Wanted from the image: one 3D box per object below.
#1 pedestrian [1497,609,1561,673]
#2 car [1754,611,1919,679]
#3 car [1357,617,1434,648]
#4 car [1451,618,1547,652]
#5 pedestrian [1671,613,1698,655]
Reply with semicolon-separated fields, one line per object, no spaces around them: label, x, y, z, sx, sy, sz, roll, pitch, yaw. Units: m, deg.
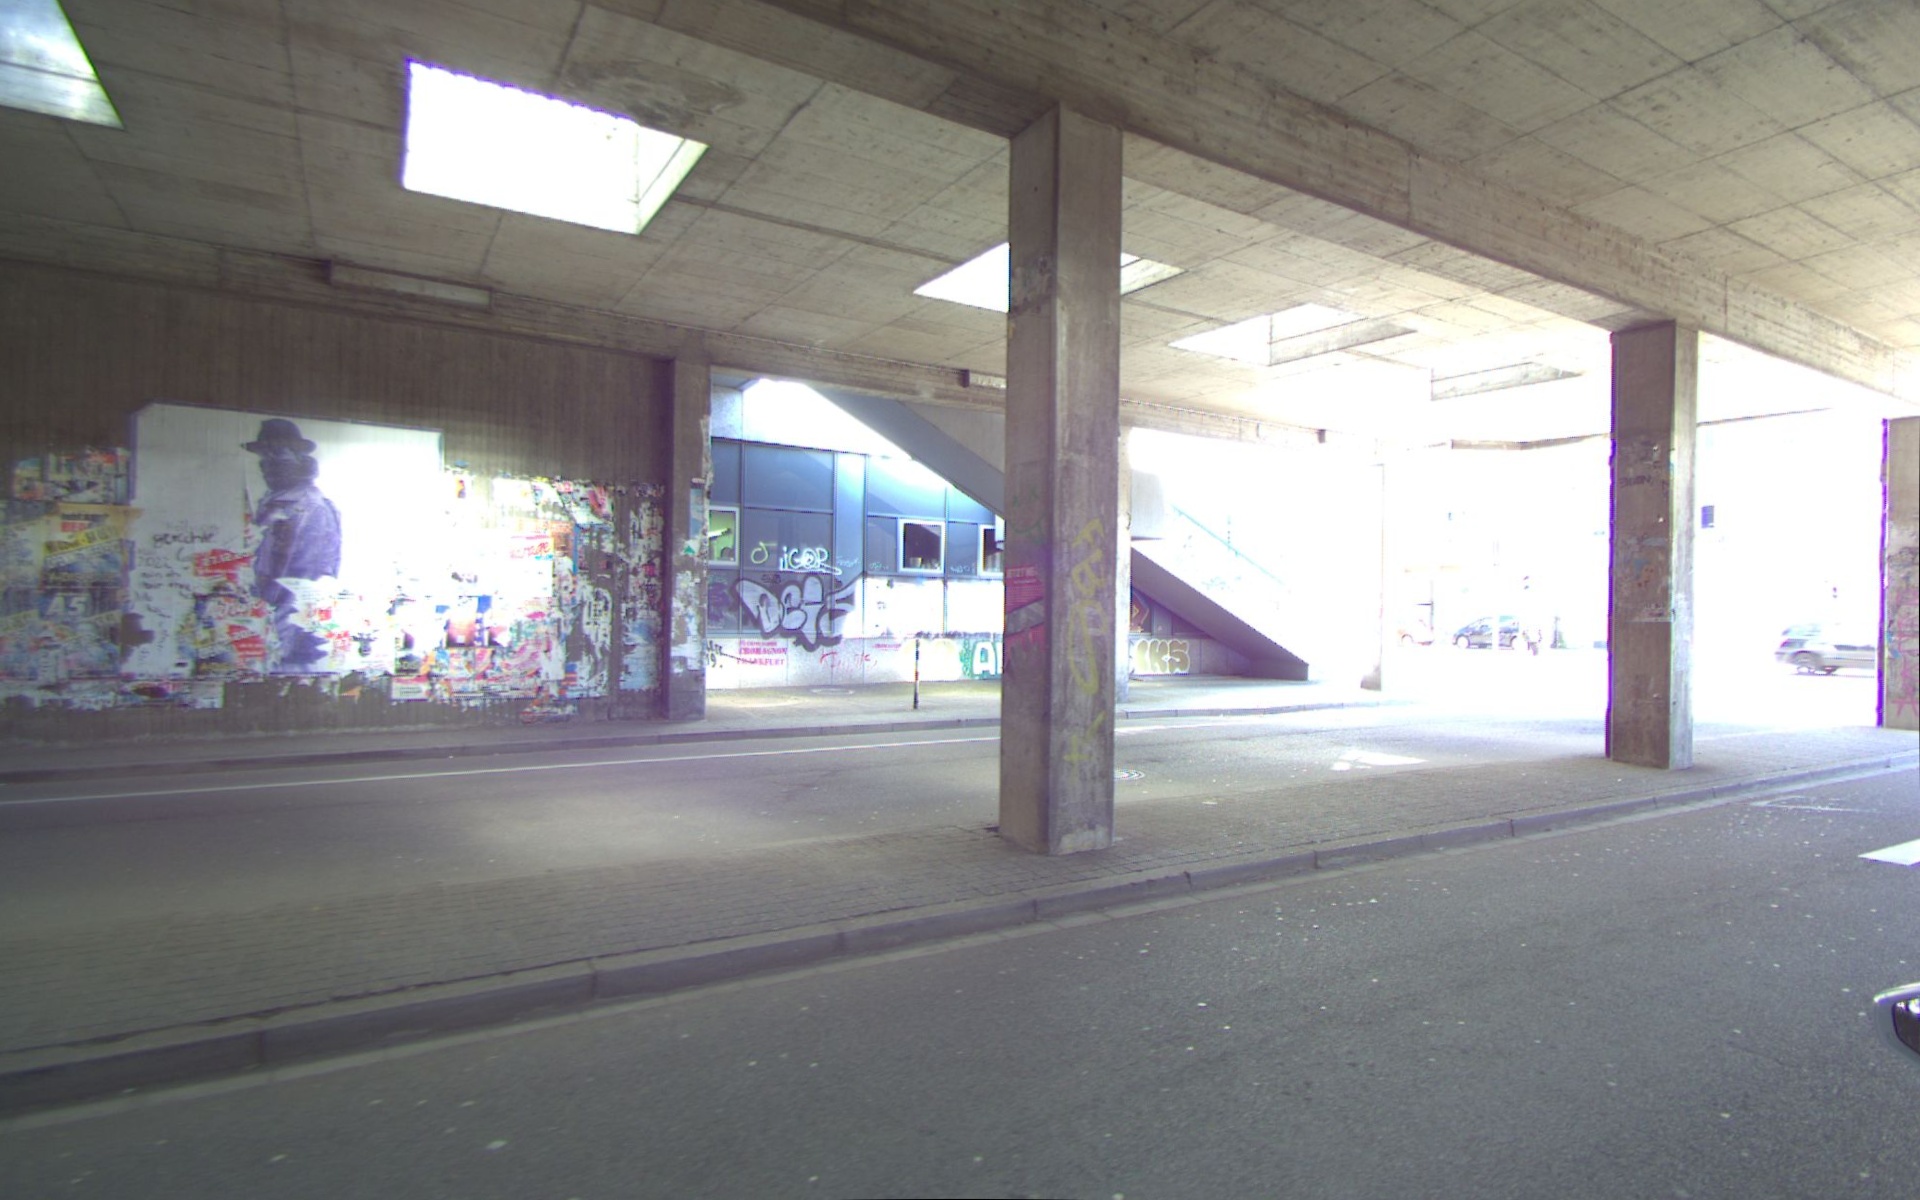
pedestrian;16.154;1.158;28.519;1.123;1.760;1.111;1;-1;-17
car;23.709;1.127;26.002;1.977;1.663;4.554;0;-1;-31
car;22.854;1.698;52.796;1.543;1.526;3.517;1;-1;-29
car;25.768;1.645;48.114;1.732;1.528;3.735;1;-1;-31
pedestrian;30.756;1.429;42.630;0.619;1.727;0.716;1;0;-36
